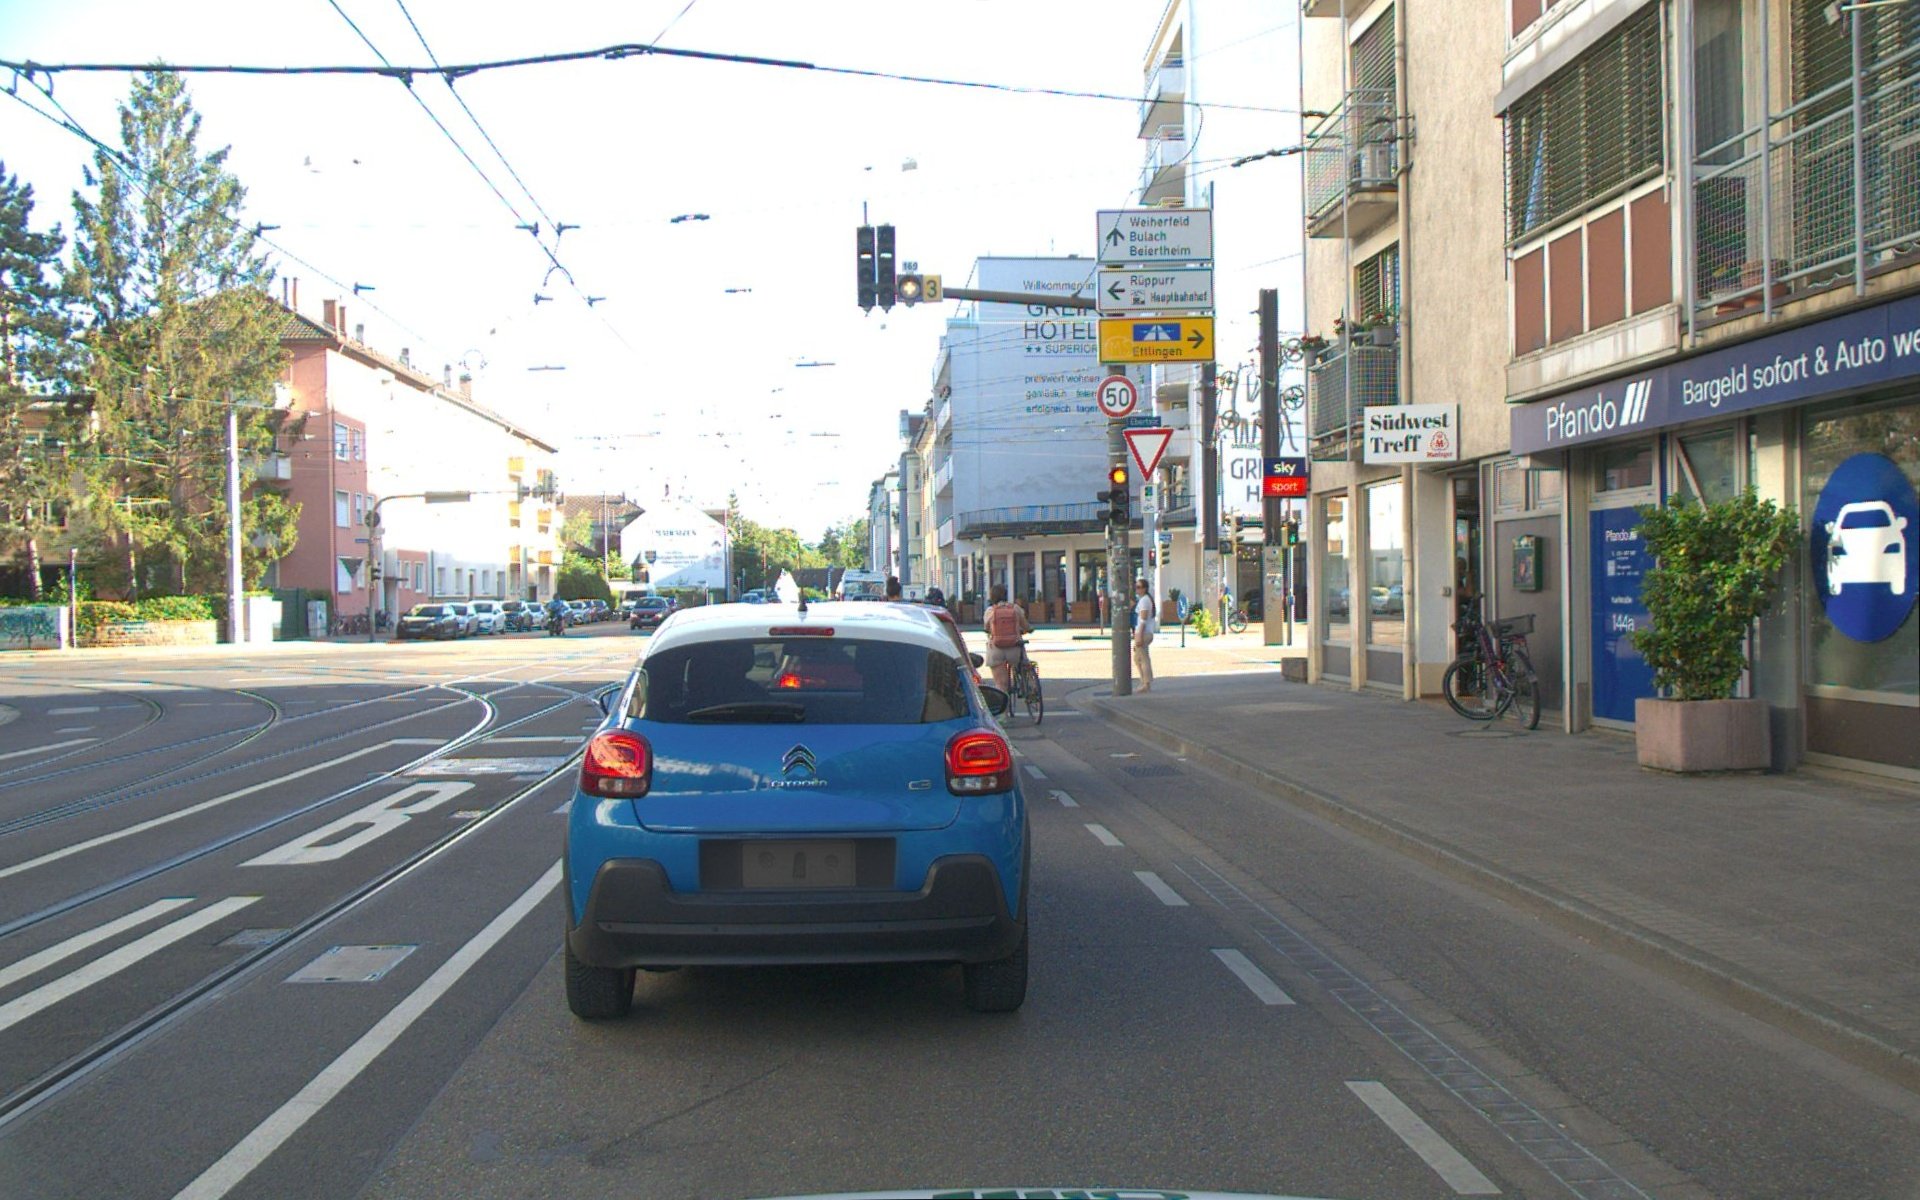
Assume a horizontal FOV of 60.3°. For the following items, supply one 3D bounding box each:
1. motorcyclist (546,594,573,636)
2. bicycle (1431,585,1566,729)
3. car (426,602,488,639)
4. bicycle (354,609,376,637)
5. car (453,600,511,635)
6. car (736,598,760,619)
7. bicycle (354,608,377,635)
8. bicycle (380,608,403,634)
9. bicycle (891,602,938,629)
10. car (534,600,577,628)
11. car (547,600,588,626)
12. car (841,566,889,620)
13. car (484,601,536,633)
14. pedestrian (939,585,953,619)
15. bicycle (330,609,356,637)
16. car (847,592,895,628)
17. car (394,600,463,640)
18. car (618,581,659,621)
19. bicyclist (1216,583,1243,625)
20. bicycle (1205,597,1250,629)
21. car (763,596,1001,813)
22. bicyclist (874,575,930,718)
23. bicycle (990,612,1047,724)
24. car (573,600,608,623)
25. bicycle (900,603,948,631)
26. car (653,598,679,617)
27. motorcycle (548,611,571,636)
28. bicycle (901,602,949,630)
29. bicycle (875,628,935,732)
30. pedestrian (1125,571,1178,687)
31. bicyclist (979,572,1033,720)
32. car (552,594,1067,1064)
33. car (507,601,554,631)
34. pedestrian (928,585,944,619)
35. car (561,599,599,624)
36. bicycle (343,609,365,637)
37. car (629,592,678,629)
[{"bbox_3d":[-16.209,0.610,66.953,0.973,1.659,0.737,-1,0,-10],"label":"motorcyclist"},{"bbox_3d":[5.108,0.506,15.820,0.627,1.286,1.910,-1,0,-1],"label":"bicycle"},{"bbox_3d":[-22.557,0.880,74.257,1.913,1.545,4.040,-1,0,-6],"label":"car"},{"bbox_3d":[-24.234,0.939,67.417,0.527,1.101,1.905,-1,0,-11],"label":"bicycle"},{"bbox_3d":[-22.759,0.824,78.862,1.913,1.545,3.995,-1,0,-6],"label":"car"},{"bbox_3d":[-21.813,0.816,170.494,2.293,2.074,5.044,-1,0,-6],"label":"car"},{"bbox_3d":[-25.878,0.931,71.988,0.527,1.101,1.908,-1,0,-7],"label":"bicycle"},{"bbox_3d":[-25.676,0.944,74.693,0.597,1.101,1.908,-1,0,-7],"label":"bicycle"},{"bbox_3d":[-1.864,0.646,68.271,1.868,1.083,0.641,-1,0,-8],"label":"bicycle"},{"bbox_3d":[-23.937,0.827,97.994,1.913,1.545,3.995,-1,0,-6],"label":"car"},{"bbox_3d":[-24.411,0.813,102.991,1.913,1.545,3.995,-1,0,-6],"label":"car"},{"bbox_3d":[-4.235,-0.314,73.179,2.039,2.309,5.646,0,0,-4],"label":"car"},{"bbox_3d":[-23.237,0.844,85.519,1.913,1.545,3.995,-1,0,-6],"label":"car"},{"bbox_3d":[-0.589,0.088,69.994,0.459,1.445,0.525,-1,0,-13],"label":"pedestrian"},{"bbox_3d":[-24.986,0.922,66.992,0.628,1.101,1.905,-1,0,-11],"label":"bicycle"},{"bbox_3d":[-3.680,0.387,67.740,1.752,1.383,3.909,-1,0,-6],"label":"car"},{"bbox_3d":[-22.018,0.794,68.652,1.913,1.545,3.995,-1,0,-6],"label":"car"},{"bbox_3d":[-23.226,0.073,119.578,2.446,2.759,5.828,-1,0,-7],"label":"car"},{"bbox_3d":[9.578,0.137,58.825,0.715,1.459,0.603,-1,0,37],"label":"bicyclist"},{"bbox_3d":[9.521,0.475,58.833,1.464,1.110,0.603,-1,0,37],"label":"bicycle"},{"bbox_3d":[-0.684,0.728,13.559,1.647,1.488,3.997,1,0,-4],"label":"car"},{"bbox_3d":[-0.693,0.539,19.616,0.604,1.658,0.759,-1,0,-5],"label":"bicyclist"},{"bbox_3d":[0.716,0.816,20.637,0.601,1.286,1.910,-1,0,-1],"label":"bicycle"},{"bbox_3d":[-25.569,0.794,114.595,1.913,1.545,3.995,-1,0,-6],"label":"car"},{"bbox_3d":[-1.450,0.668,67.085,1.868,1.083,0.641,-1,0,-8],"label":"bicycle"},{"bbox_3d":[-25.576,0.651,144.167,1.913,1.545,3.995,-1,0,-6],"label":"car"},{"bbox_3d":[-16.229,0.943,67.021,0.738,0.993,2.092,-1,0,-9],"label":"motorcycle"},{"bbox_3d":[-1.397,0.643,65.780,1.868,1.083,0.641,-1,0,-8],"label":"bicycle"},{"bbox_3d":[-0.677,0.921,19.721,0.604,1.123,1.884,-1,0,-5],"label":"bicycle"},{"bbox_3d":[2.815,0.415,24.343,0.735,1.663,0.740,-1,0,5],"label":"pedestrian"},{"bbox_3d":[0.563,0.553,20.596,0.588,1.776,1.084,-1,0,-1],"label":"bicyclist"},{"bbox_3d":[-0.618,0.732,7.351,1.647,1.488,3.997,1,0,-4],"label":"car"},{"bbox_3d":[-23.767,0.860,91.569,1.913,1.545,3.995,-1,0,-6],"label":"car"},{"bbox_3d":[-1.014,0.093,70.239,0.514,1.445,0.547,-1,0,19],"label":"pedestrian"},{"bbox_3d":[-24.853,0.754,108.264,1.913,1.545,3.995,-1,0,-6],"label":"car"},{"bbox_3d":[-24.592,0.932,67.118,0.527,1.101,1.905,-1,0,-11],"label":"bicycle"},{"bbox_3d":[-14.513,0.466,78.516,1.967,1.656,5.045,-1,0,-7],"label":"car"}]
